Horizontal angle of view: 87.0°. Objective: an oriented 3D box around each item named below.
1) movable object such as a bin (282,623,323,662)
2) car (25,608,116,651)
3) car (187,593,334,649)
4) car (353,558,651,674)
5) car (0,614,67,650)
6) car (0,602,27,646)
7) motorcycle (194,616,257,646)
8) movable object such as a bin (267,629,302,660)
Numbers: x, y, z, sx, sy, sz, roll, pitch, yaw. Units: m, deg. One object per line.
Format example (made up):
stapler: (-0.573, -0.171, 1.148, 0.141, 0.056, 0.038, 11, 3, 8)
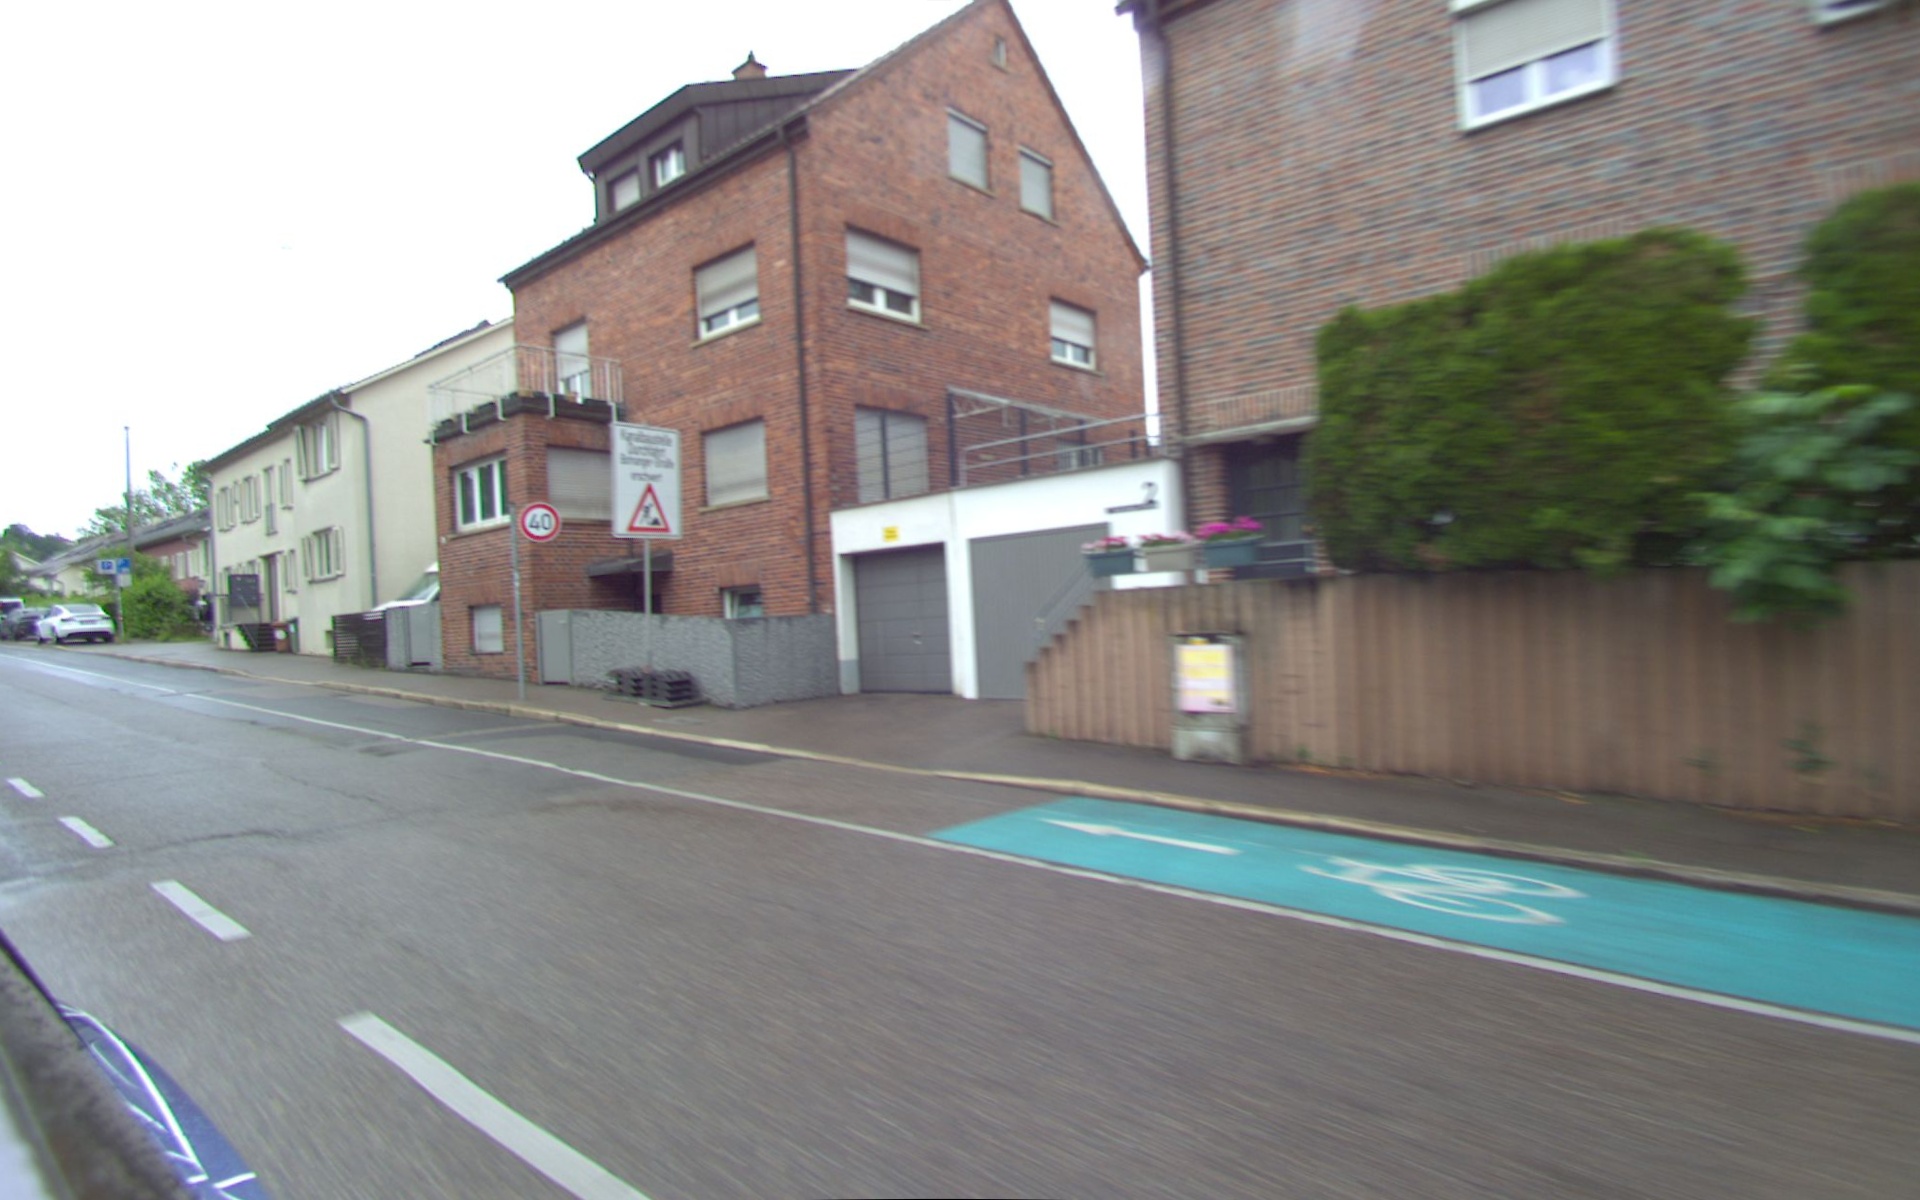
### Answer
movable object such as a bin: (-18.550, 1.194, 28.553, 0.738, 1.054, 0.773, -1, 1, 41)
car: (-37.024, 1.202, 42.087, 4.670, 1.643, 1.911, -1, 1, 37)
car: (-27.779, 0.810, 40.317, 1.885, 2.029, 4.446, -3, -1, 37)
car: (-11.393, 0.255, 25.743, 2.167, 2.572, 6.585, 0, 2, 41)
car: (-43.301, 1.467, 47.010, 4.514, 1.487, 1.792, -1, 1, 36)
car: (-48.651, 1.229, 50.465, 5.005, 2.094, 1.834, -1, 1, 33)
motorcycle: (-32.017, 1.328, 44.131, 0.840, 1.143, 2.070, 1, 3, 44)
movable object such as a bin: (-19.843, 1.299, 29.727, 0.708, 0.866, 0.666, -1, 1, 41)
